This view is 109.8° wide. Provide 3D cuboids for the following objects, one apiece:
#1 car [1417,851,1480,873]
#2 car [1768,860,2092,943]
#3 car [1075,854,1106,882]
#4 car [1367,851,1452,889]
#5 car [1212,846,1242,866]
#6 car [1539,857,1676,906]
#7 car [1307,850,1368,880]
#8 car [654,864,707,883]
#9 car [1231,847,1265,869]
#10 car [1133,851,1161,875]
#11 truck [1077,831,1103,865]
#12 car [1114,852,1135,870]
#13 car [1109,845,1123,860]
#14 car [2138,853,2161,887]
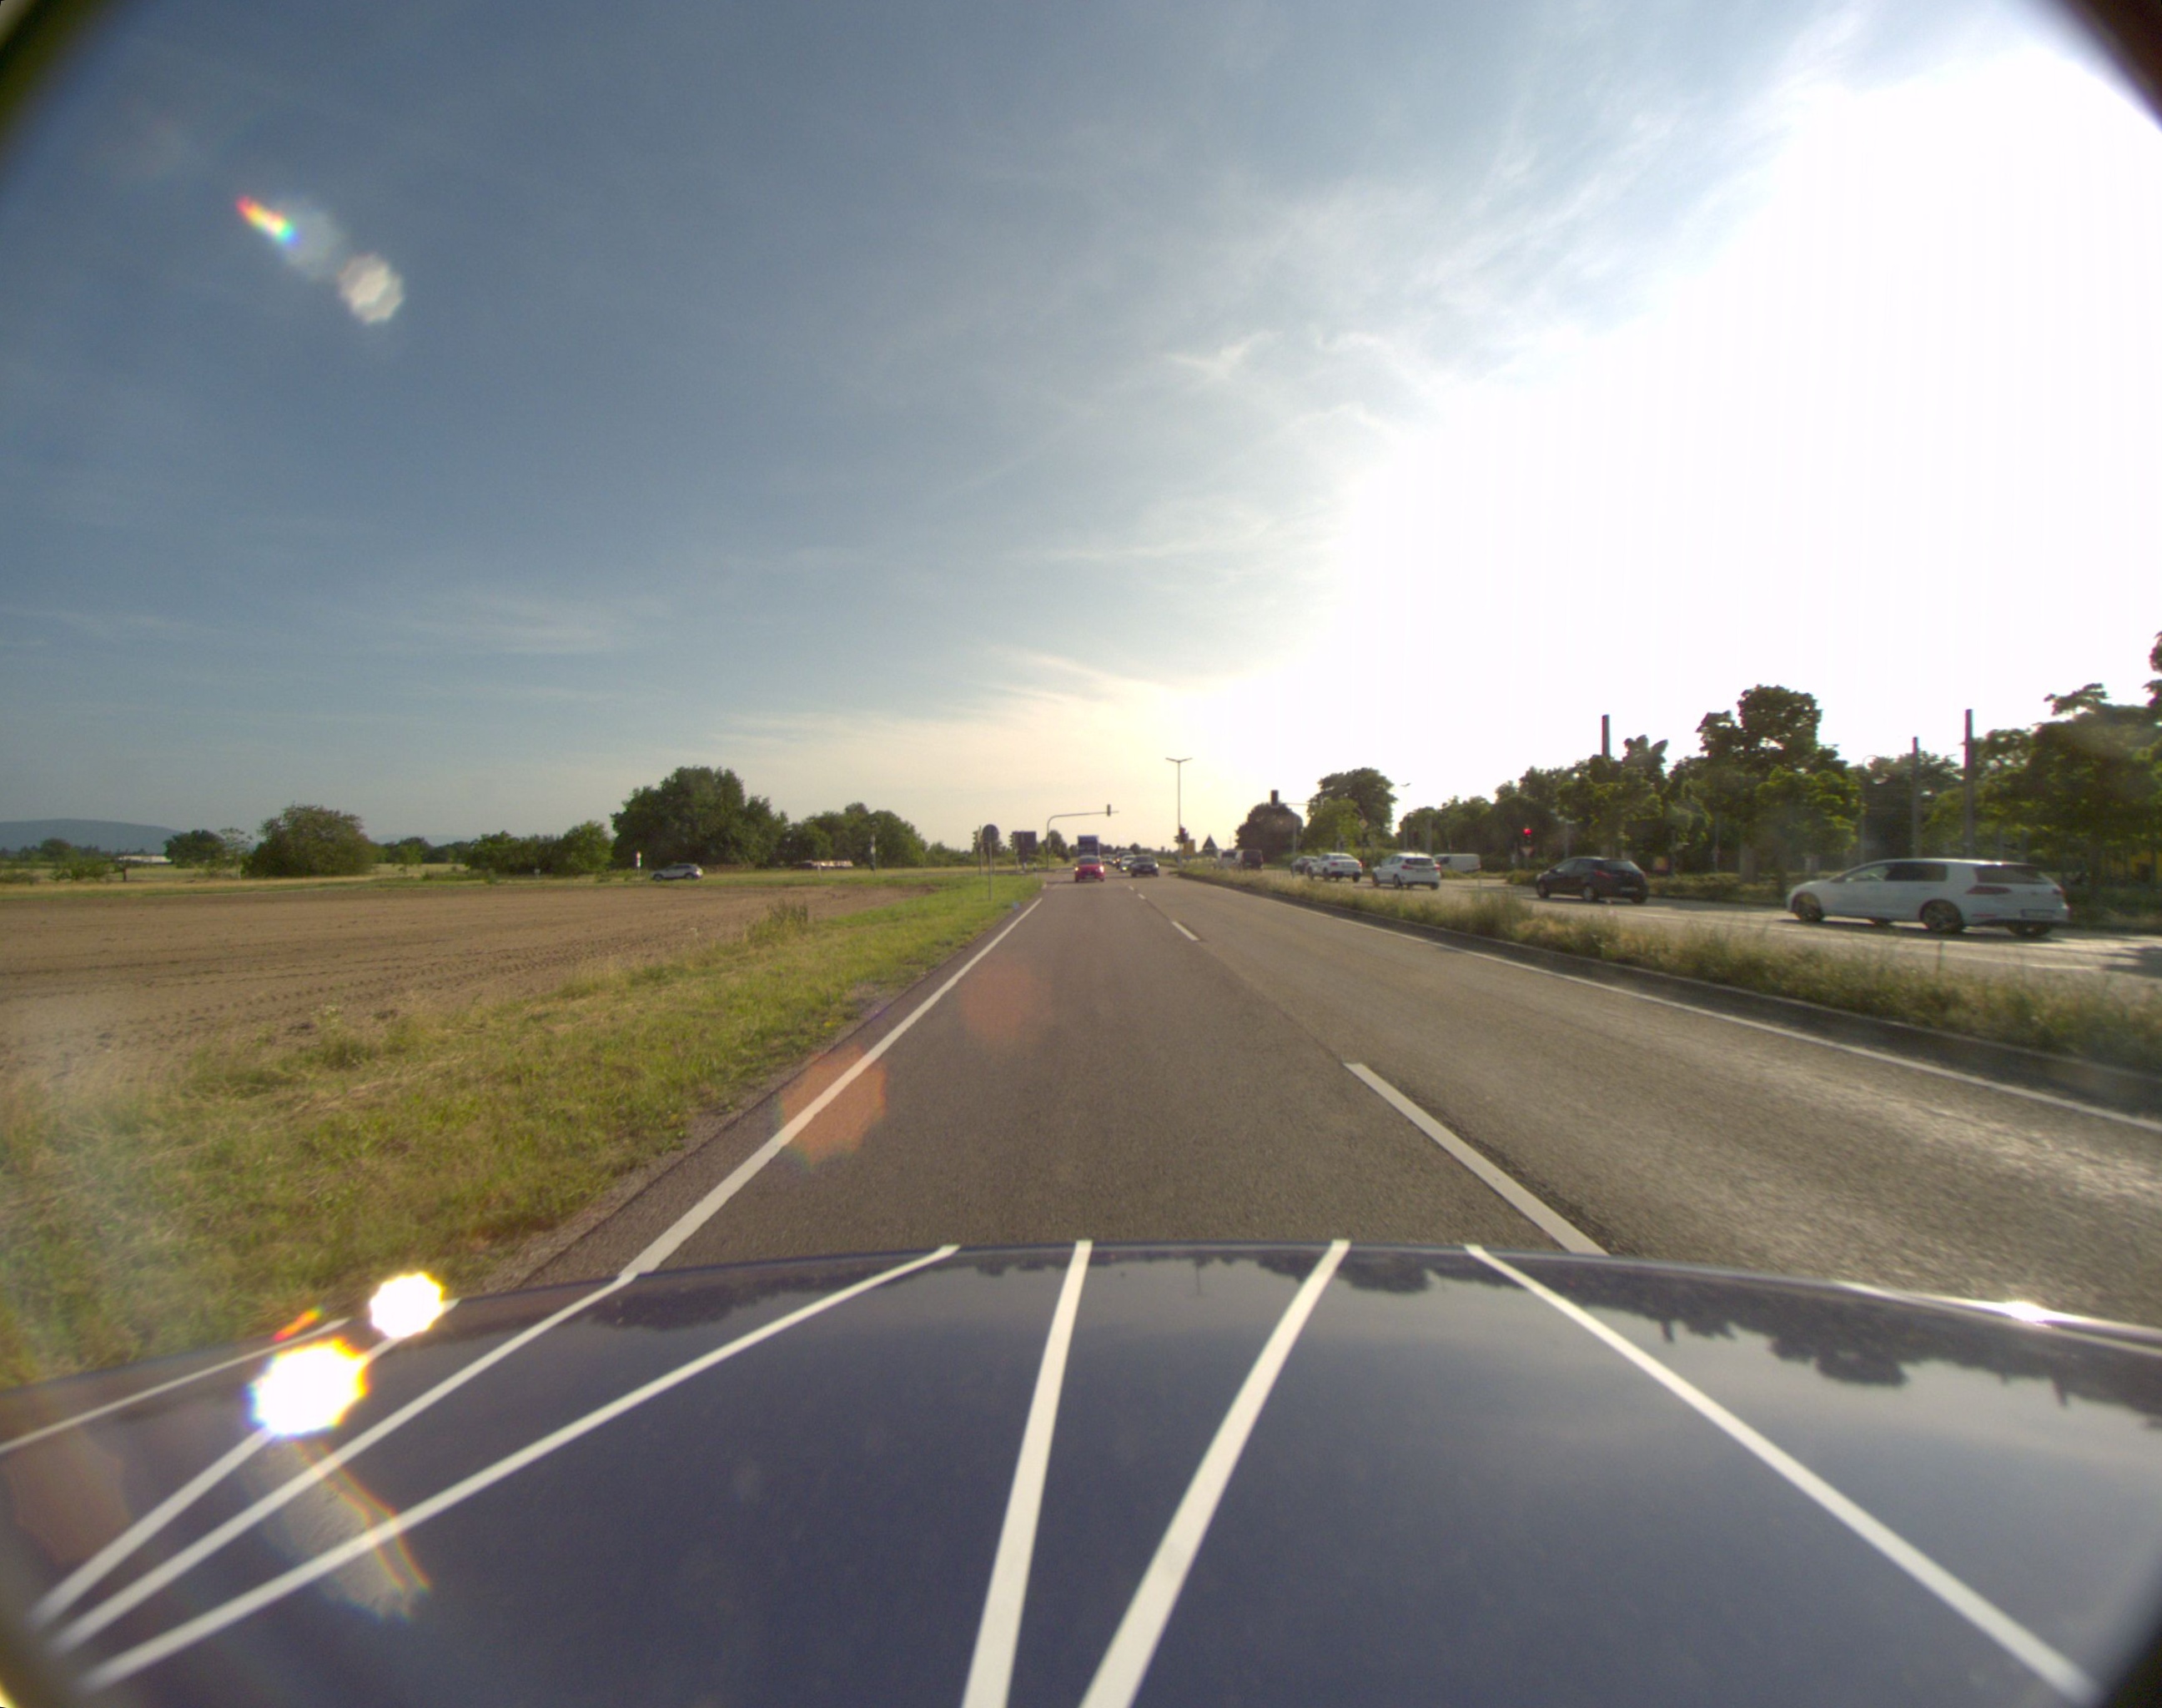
[{"bbox_3d":[34.814,0.775,72.075,4.844,1.876,2.253,-2,1,-4],"label":"car"},{"bbox_3d":[16.948,0.857,15.596,1.664,1.373,4.468,1,0,1],"label":"car"},{"bbox_3d":[0.571,0.790,45.237,1.735,1.467,4.000,-2,0,1],"label":"car"},{"bbox_3d":[13.917,0.626,32.509,1.823,1.461,4.294,1,0,1],"label":"car"},{"bbox_3d":[14.108,0.139,73.539,1.998,1.818,5.079,2,0,1],"label":"car"},{"bbox_3d":[16.794,0.817,24.508,1.664,1.373,4.000,1,0,1],"label":"car"},{"bbox_3d":[13.768,0.543,41.063,1.756,1.499,4.583,1,0,1],"label":"car"},{"bbox_3d":[-37.696,1.806,71.657,4.002,1.641,1.997,-2,1,-14],"label":"car"},{"bbox_3d":[13.634,0.321,62.281,1.862,1.735,4.529,1,0,1],"label":"car"},{"bbox_3d":[4.438,0.555,51.621,1.636,1.500,4.000,-2,0,1],"label":"car"},{"bbox_3d":[1.123,-0.725,93.450,2.849,3.896,10.104,-2,0,1],"label":"truck"},{"bbox_3d":[3.842,0.575,67.386,1.636,1.442,4.000,-2,0,1],"label":"car"},{"bbox_3d":[4.413,-0.230,95.647,1.636,1.833,4.000,-2,0,1],"label":"car"},{"bbox_3d":[48.868,0.665,33.364,4.003,1.412,1.831,-2,0,-20],"label":"car"}]
